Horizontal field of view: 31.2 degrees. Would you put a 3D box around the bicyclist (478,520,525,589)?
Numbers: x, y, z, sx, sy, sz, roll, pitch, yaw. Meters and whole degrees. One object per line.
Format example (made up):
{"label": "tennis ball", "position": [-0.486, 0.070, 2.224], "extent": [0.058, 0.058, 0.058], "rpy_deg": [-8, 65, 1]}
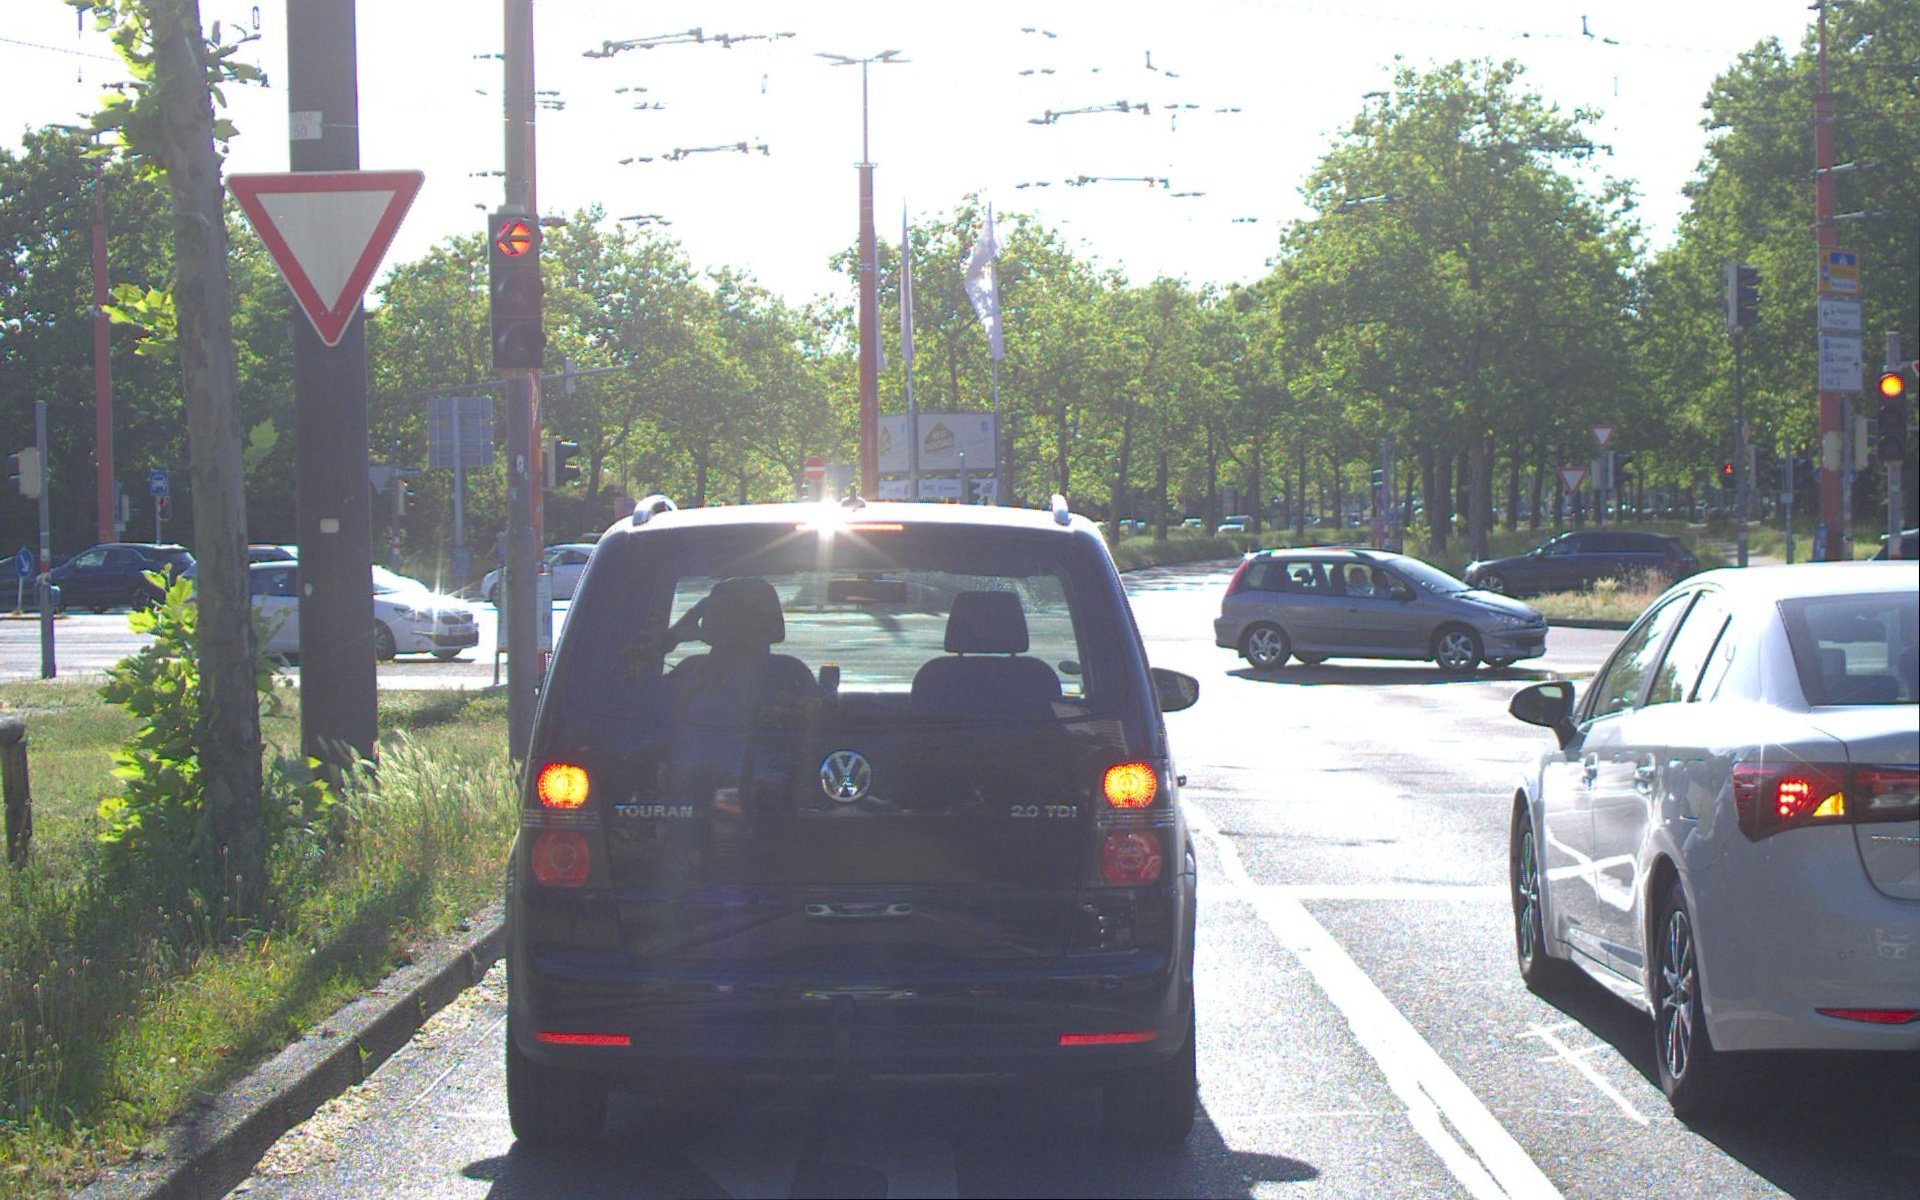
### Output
{"label": "bicyclist", "position": [-12.610, -1.250, 94.516], "extent": [0.977, 1.897, 1.050], "rpy_deg": [0, 1, 12]}

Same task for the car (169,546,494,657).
{"label": "car", "position": [-9.060, -0.007, 49.418], "extent": [4.630, 1.514, 1.654], "rpy_deg": [1, 1, 30]}

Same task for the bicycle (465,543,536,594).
{"label": "bicycle", "position": [-12.617, -0.879, 94.481], "extent": [0.977, 1.384, 2.978], "rpy_deg": [0, 1, 12]}

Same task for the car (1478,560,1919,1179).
{"label": "car", "position": [2.751, 0.616, 10.165], "extent": [1.799, 1.435, 4.326], "rpy_deg": [1, 1, 1]}

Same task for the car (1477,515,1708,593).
{"label": "car", "position": [12.404, -0.918, 67.486], "extent": [4.141, 1.505, 1.654], "rpy_deg": [1, 1, 28]}

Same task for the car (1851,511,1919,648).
{"label": "car", "position": [13.246, -0.240, 41.300], "extent": [4.636, 1.641, 1.654], "rpy_deg": [1, 1, 30]}

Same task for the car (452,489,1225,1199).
{"label": "car", "position": [-0.259, 0.536, 9.986], "extent": [1.738, 1.597, 4.326], "rpy_deg": [1, 1, 1]}

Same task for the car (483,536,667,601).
{"label": "car", "position": [-8.833, -0.743, 78.898], "extent": [3.919, 1.452, 1.654], "rpy_deg": [1, 1, 26]}

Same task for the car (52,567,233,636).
{"label": "car", "position": [-18.647, 0.016, 78.422], "extent": [3.796, 1.505, 1.655], "rpy_deg": [1, 1, 24]}

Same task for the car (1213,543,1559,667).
{"label": "car", "position": [5.158, 0.031, 41.714], "extent": [3.835, 1.436, 1.654], "rpy_deg": [1, 1, 28]}
